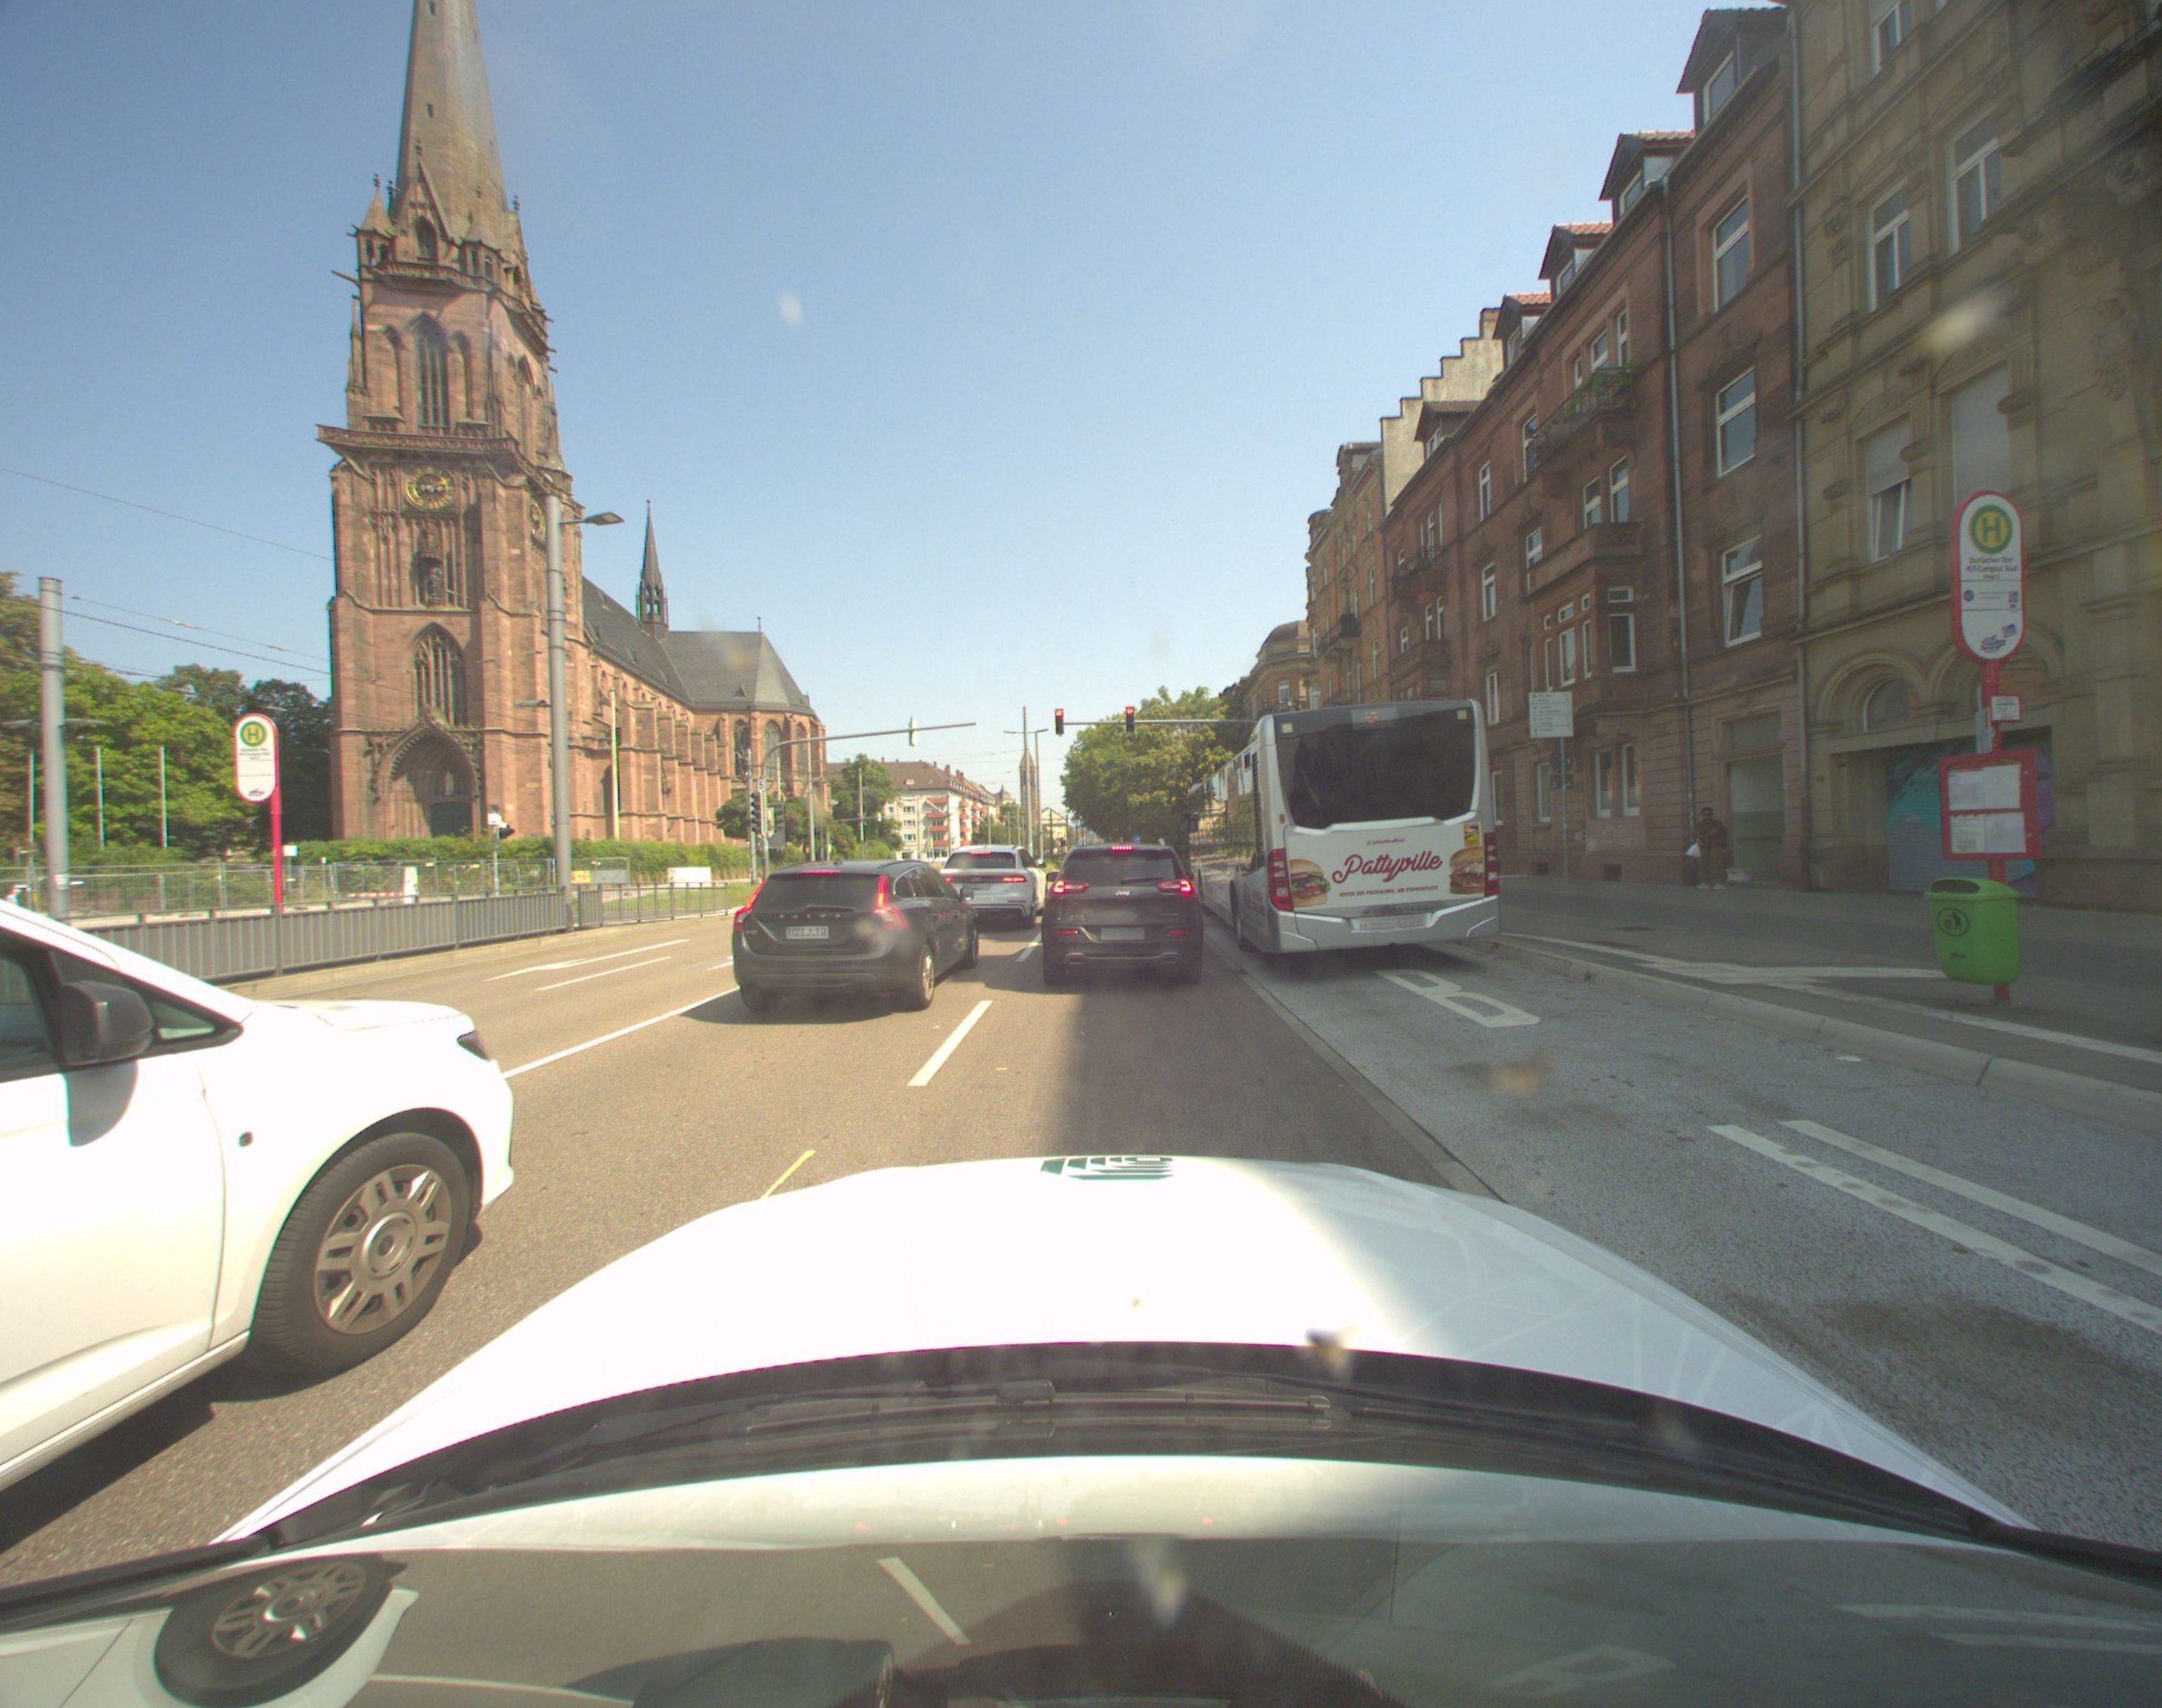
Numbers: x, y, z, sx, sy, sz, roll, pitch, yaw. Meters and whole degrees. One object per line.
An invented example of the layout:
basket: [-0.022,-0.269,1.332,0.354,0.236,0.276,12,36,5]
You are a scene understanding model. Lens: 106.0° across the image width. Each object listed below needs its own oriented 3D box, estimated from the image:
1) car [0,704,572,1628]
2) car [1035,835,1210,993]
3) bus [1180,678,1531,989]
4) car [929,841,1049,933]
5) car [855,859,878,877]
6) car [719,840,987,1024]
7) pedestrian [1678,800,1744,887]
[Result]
car: [-3.022,0.629,1.204,1.741,1.820,4.241,-1,0,2]
car: [0.543,0.629,10.763,1.825,1.651,4.311,-1,0,3]
bus: [3.641,-0.228,14.682,2.732,3.106,11.966,-5,0,3]
car: [-1.789,0.593,17.207,1.895,1.651,4.310,-1,0,2]
car: [-18.982,1.240,72.272,1.748,1.435,4.553,-4,0,-13]
car: [-2.283,0.686,9.403,1.741,1.614,4.310,-1,0,2]
pedestrian: [13.273,-0.215,17.165,0.872,1.778,0.737,-2,0,-26]
